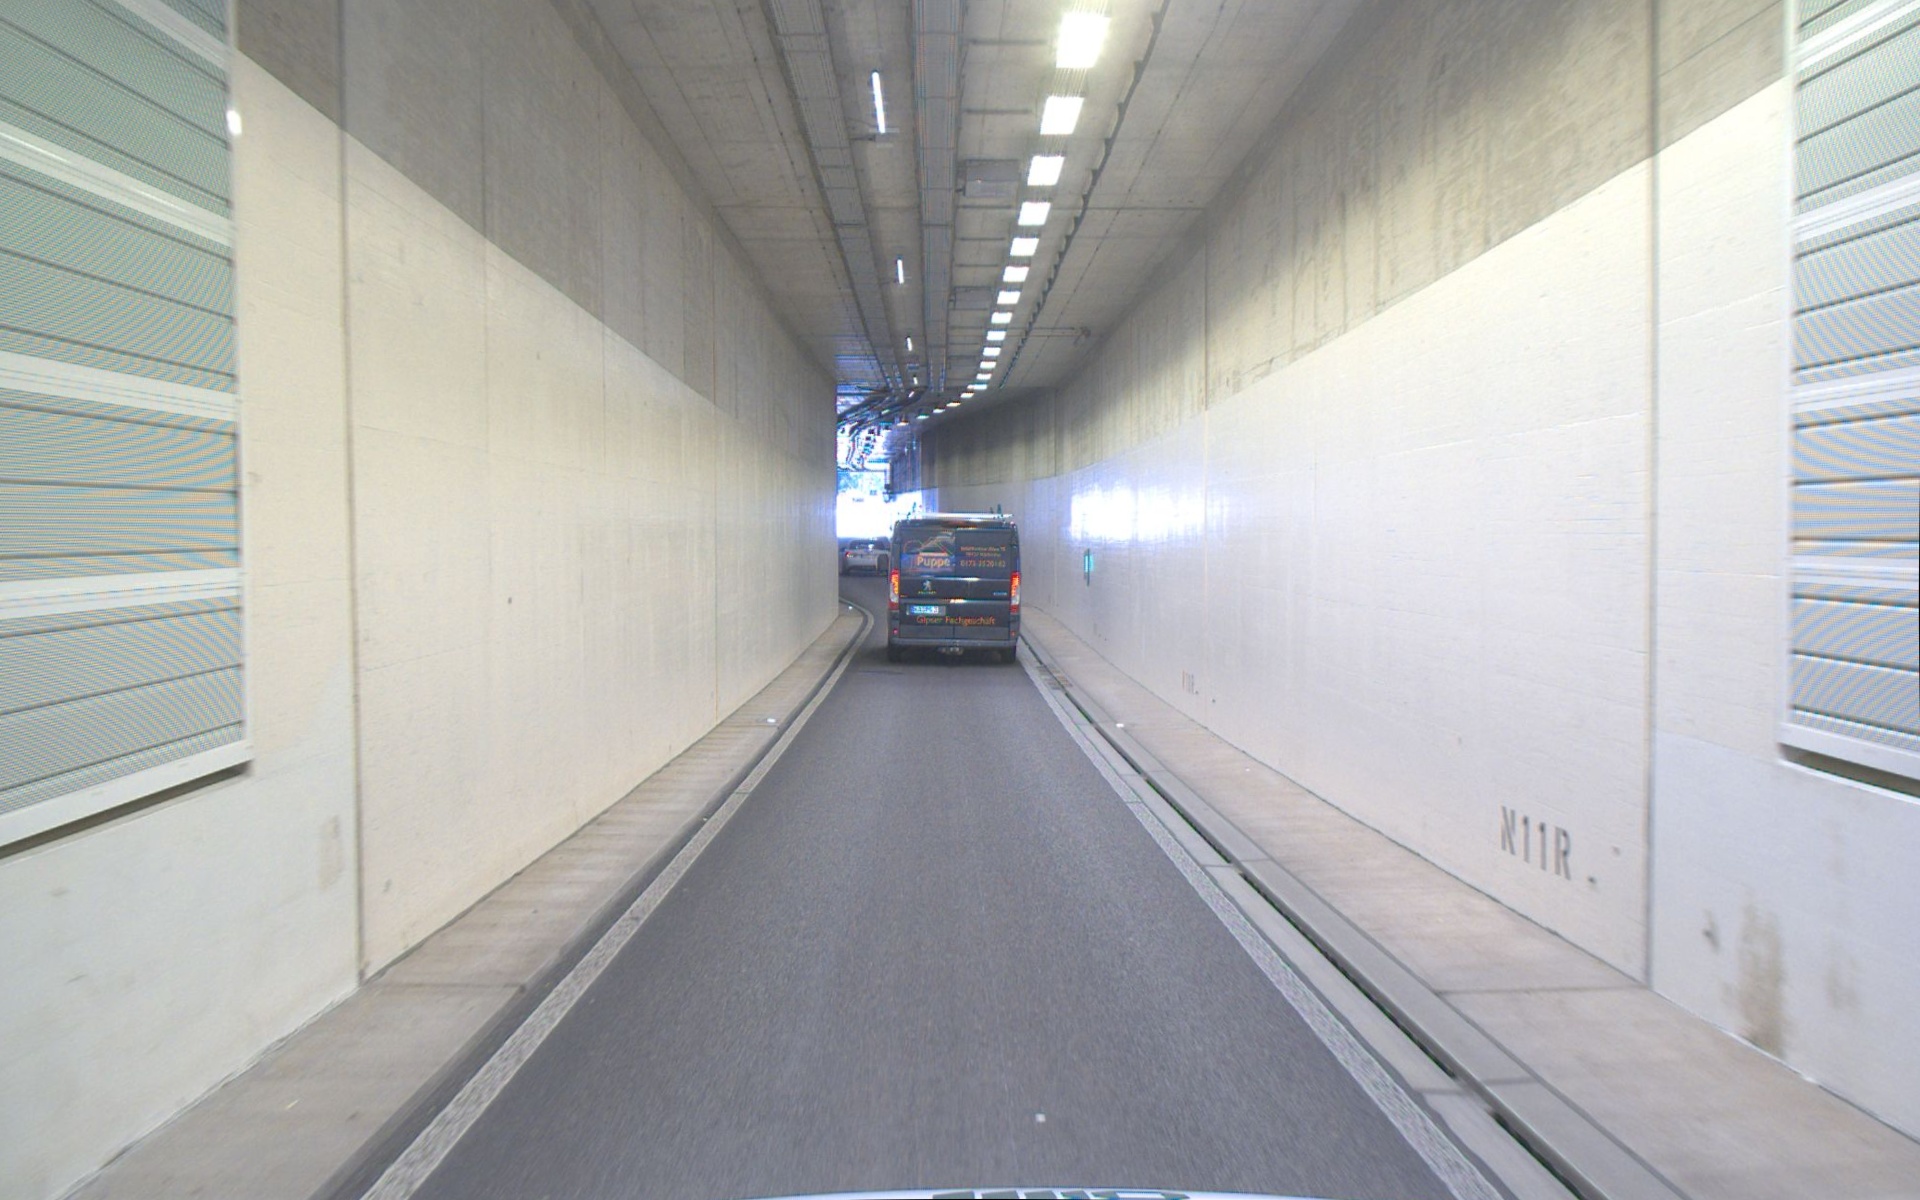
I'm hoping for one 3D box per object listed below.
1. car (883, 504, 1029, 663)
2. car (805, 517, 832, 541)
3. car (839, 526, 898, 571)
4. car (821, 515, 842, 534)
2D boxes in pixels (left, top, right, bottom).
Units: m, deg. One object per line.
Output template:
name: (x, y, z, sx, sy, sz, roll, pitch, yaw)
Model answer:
car: (-0.079, -0.349, 26.556, 2.114, 2.305, 4.637, 1, 3, -1)
car: (-10.326, -5.141, 120.584, 1.840, 1.652, 4.217, 1, 2, -5)
car: (-3.312, -1.901, 60.396, 2.043, 1.539, 4.636, 0, 3, -3)
car: (-11.548, -6.759, 148.475, 1.840, 1.652, 4.217, 1, 2, -5)
